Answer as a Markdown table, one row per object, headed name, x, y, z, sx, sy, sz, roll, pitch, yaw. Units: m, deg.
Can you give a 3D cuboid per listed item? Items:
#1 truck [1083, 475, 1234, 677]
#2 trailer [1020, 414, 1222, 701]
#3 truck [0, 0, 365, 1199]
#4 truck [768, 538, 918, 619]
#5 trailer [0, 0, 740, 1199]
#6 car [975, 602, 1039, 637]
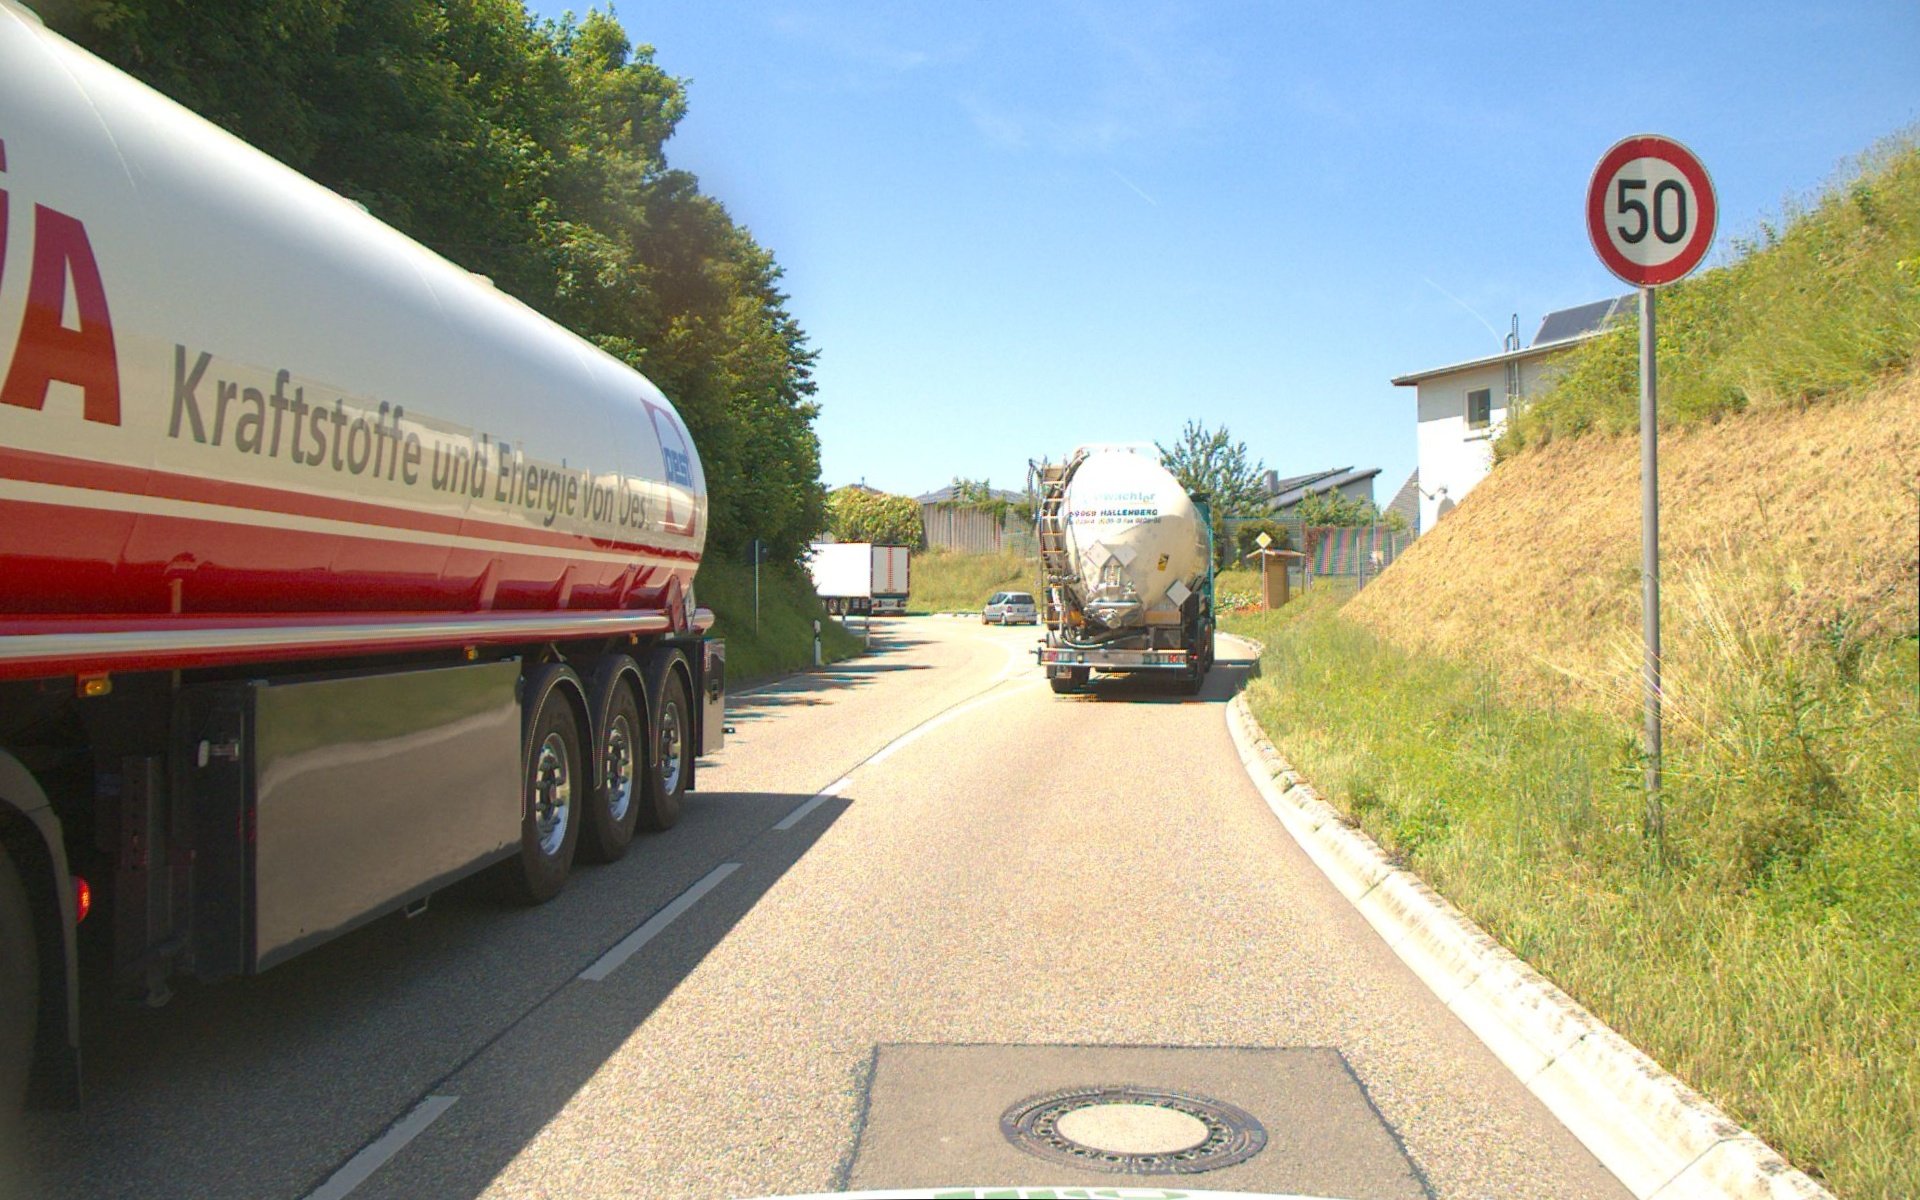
| name | x | y | z | sx | sy | sz | roll | pitch | yaw |
| --- | --- | --- | --- | --- | --- | --- | --- | --- | --- |
| truck | 4.550 | -0.437 | 36.678 | 2.669 | 3.999 | 7.269 | 1 | -1 | 12 |
| trailer | 3.327 | -0.619 | 30.650 | 2.604 | 4.262 | 11.914 | 1 | 0 | 11 |
| truck | -3.419 | -0.235 | 2.039 | 2.571 | 3.226 | 7.069 | 1 | -1 | 2 |
| truck | -7.020 | -1.338 | 96.900 | 3.163 | 4.384 | 11.659 | 3 | 0 | -34 |
| trailer | -3.221 | -0.261 | 7.290 | 2.578 | 3.432 | 11.145 | 1 | 0 | 2 |
| car | 2.181 | 0.901 | 77.822 | 1.625 | 1.536 | 3.614 | 3 | -1 | -22 |
